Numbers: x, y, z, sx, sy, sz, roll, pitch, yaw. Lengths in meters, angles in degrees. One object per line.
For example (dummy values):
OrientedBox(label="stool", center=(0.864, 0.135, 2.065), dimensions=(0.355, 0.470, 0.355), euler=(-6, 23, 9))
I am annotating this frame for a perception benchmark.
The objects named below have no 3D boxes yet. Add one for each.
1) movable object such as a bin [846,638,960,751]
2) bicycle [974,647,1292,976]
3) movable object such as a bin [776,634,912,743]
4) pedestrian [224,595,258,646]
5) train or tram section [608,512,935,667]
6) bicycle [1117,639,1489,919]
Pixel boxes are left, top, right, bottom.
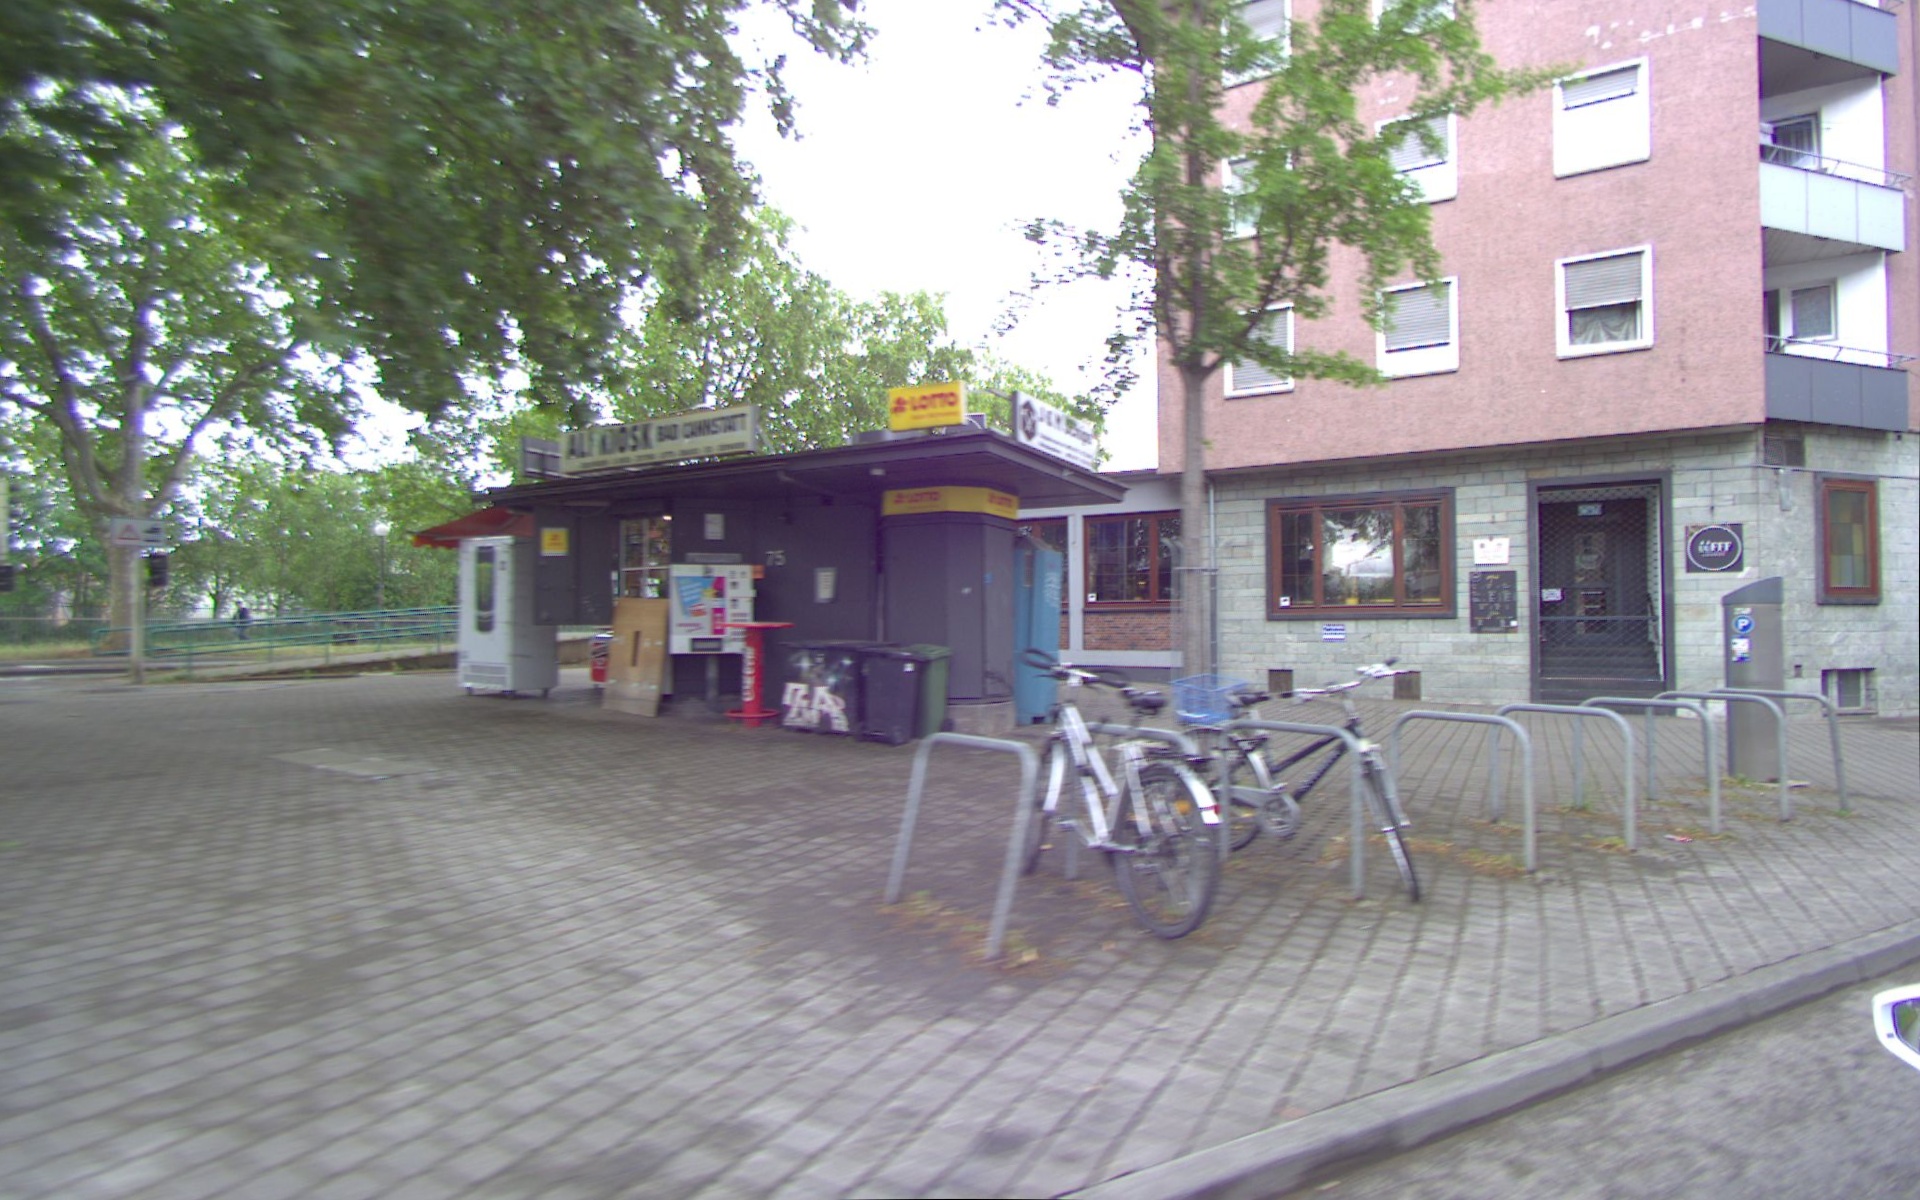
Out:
OrientedBox(label="movable object such as a bin", center=(-0.558, 0.916, 10.108), dimensions=(0.661, 0.977, 1.077), euler=(3, 2, 28))
OrientedBox(label="bicycle", center=(0.694, 0.837, 4.731), dimensions=(0.569, 1.128, 1.866), euler=(1, 0, -22))
OrientedBox(label="movable object such as a bin", center=(-1.208, 0.898, 10.633), dimensions=(0.950, 0.977, 1.111), euler=(3, 2, 28))
OrientedBox(label="pedestrian", center=(-23.793, 0.668, 33.233), dimensions=(0.653, 1.644, 0.535), euler=(3, 0, 7))
OrientedBox(label="train or tram section", center=(-4.896, -0.086, 29.620), dimensions=(2.873, 3.720, 10.987), euler=(3, -1, 30))
OrientedBox(label="bicycle", center=(1.803, 0.856, 5.498), dimensions=(0.719, 1.192, 1.784), euler=(1, 0, -43))
